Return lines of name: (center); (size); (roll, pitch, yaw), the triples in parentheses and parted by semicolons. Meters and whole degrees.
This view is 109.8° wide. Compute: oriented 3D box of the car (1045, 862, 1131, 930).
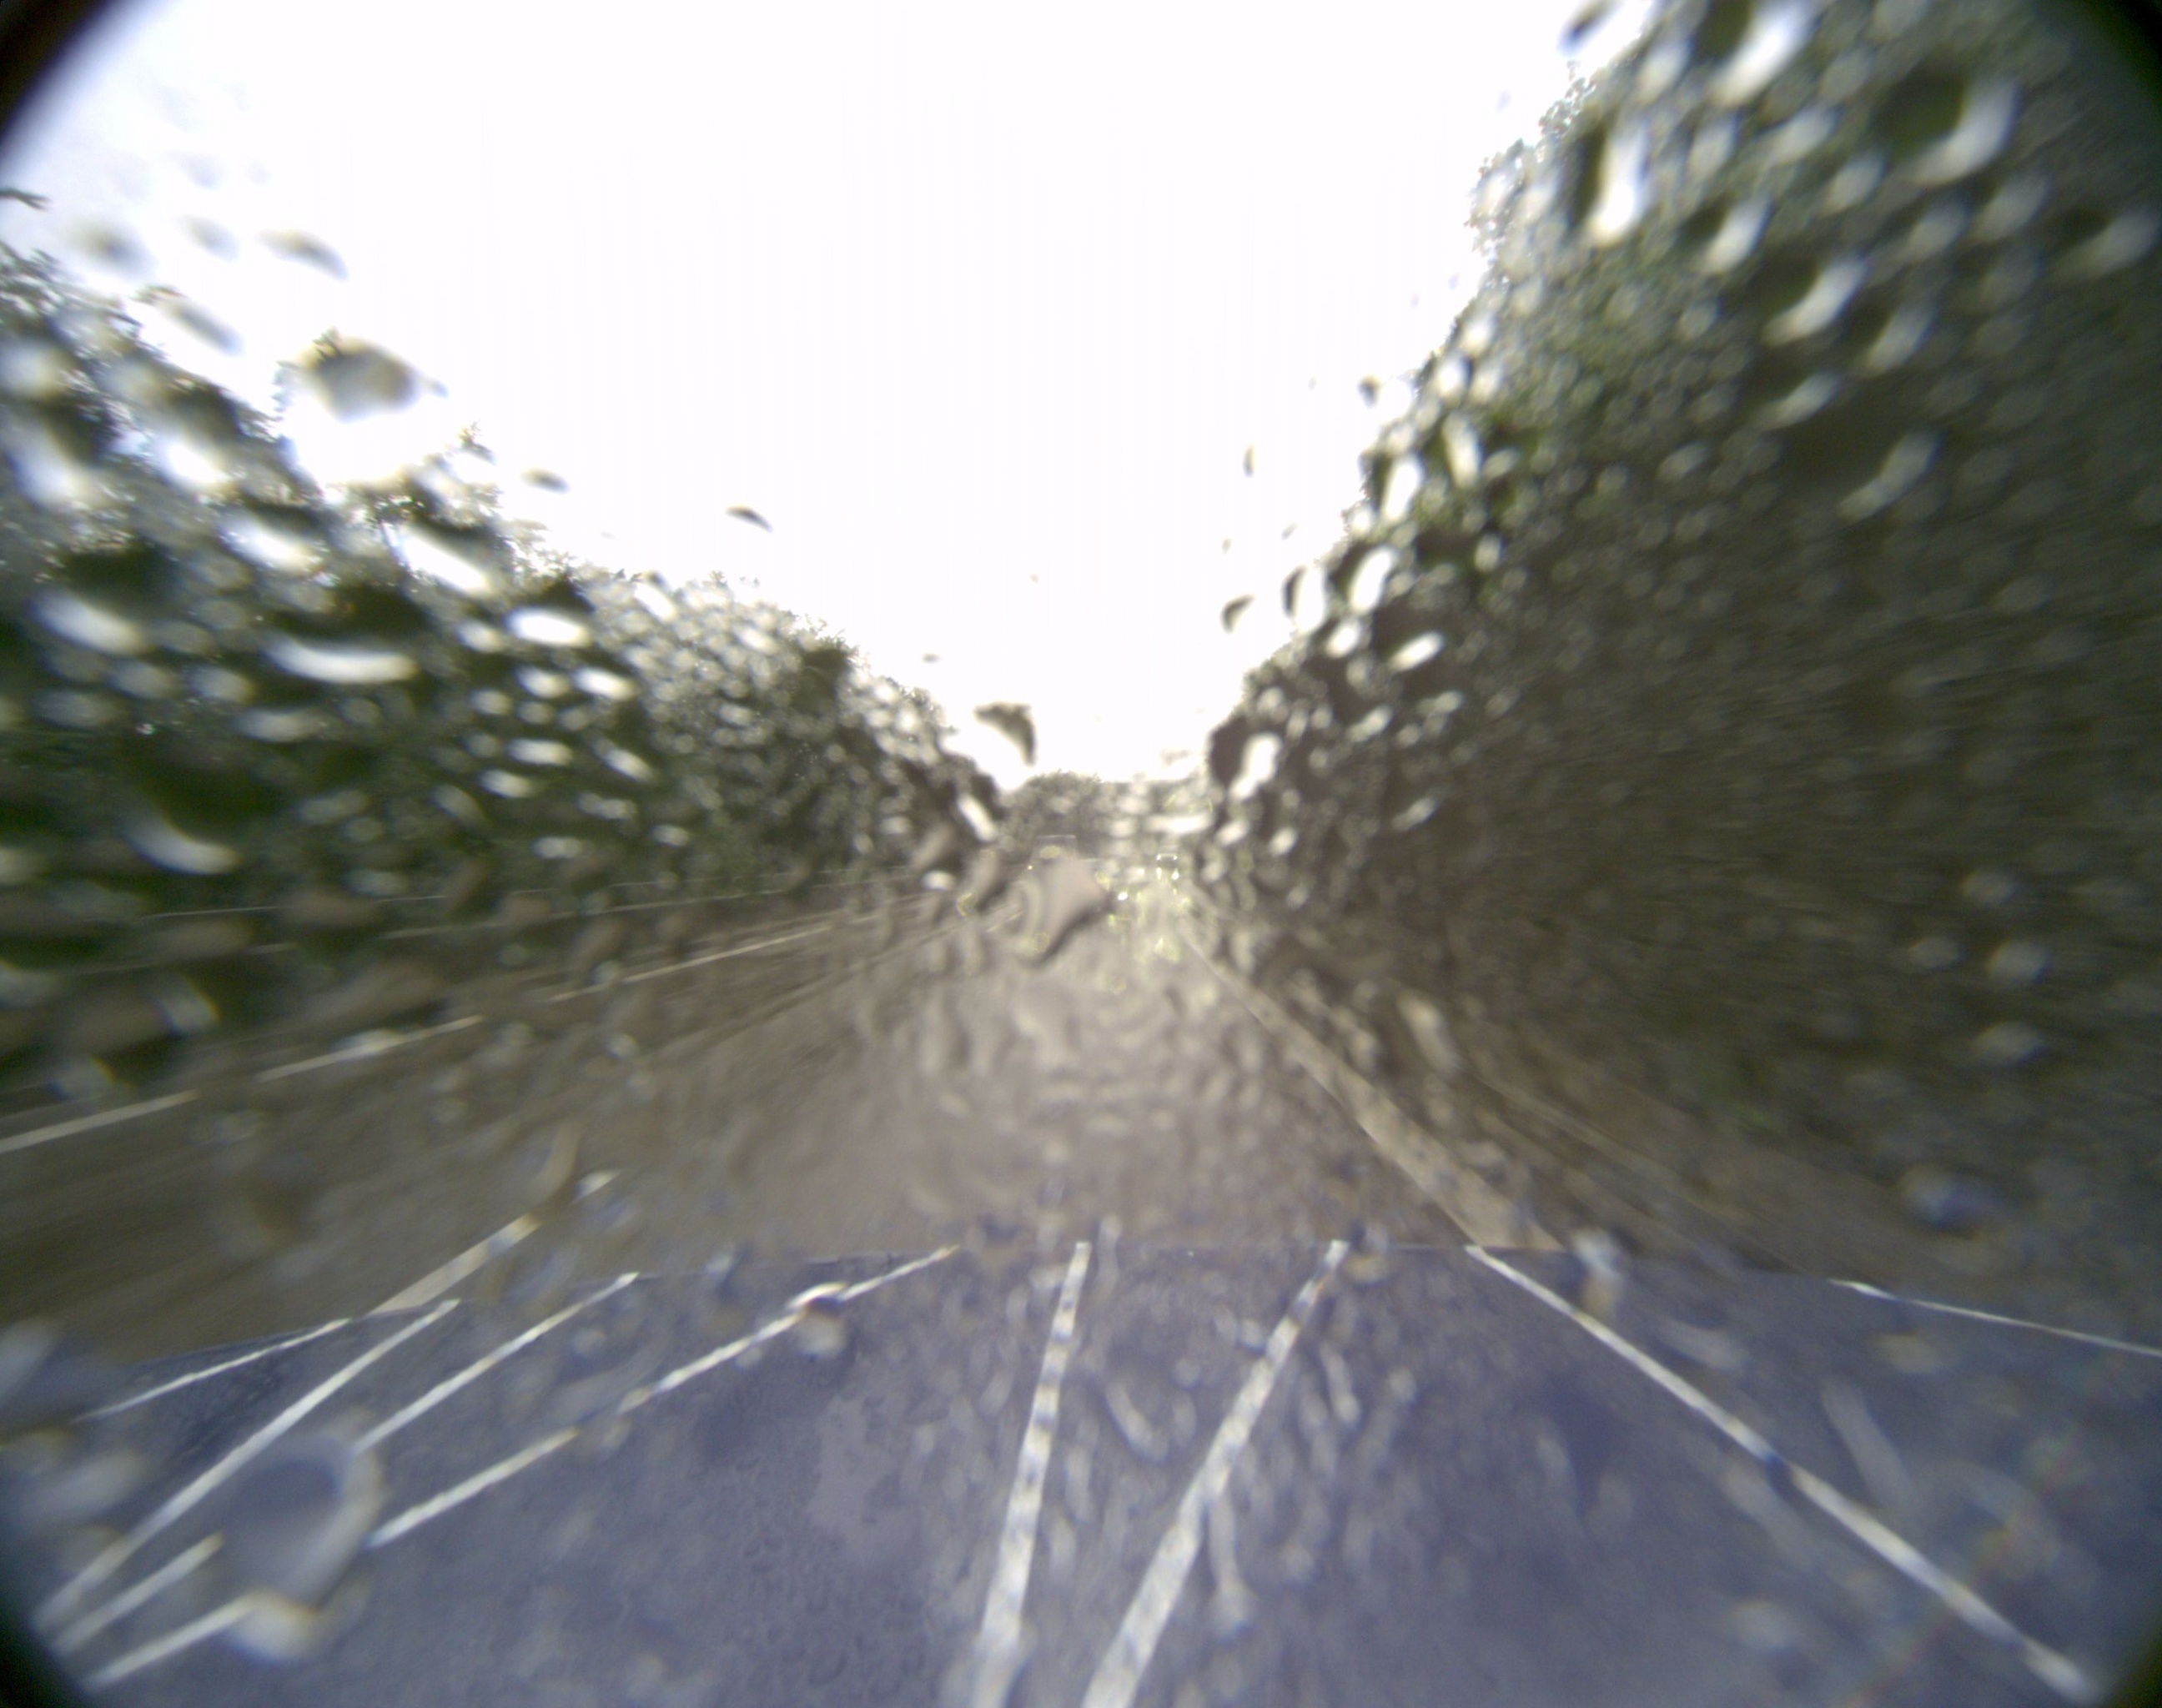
car: (0.245, 0.943, 18.715); (1.827, 1.375, 4.000); (-2, 0, 3)

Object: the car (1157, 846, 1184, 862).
car: (8.745, -0.044, 73.794); (1.825, 1.375, 4.004); (-4, 0, 16)

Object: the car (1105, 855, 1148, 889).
car: (2.190, 0.808, 35.740); (1.827, 1.375, 4.001); (-4, 0, 5)

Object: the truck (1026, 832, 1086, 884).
truck: (-1.201, 0.154, 41.432); (2.107, 2.481, 8.005); (-2, 0, 6)
